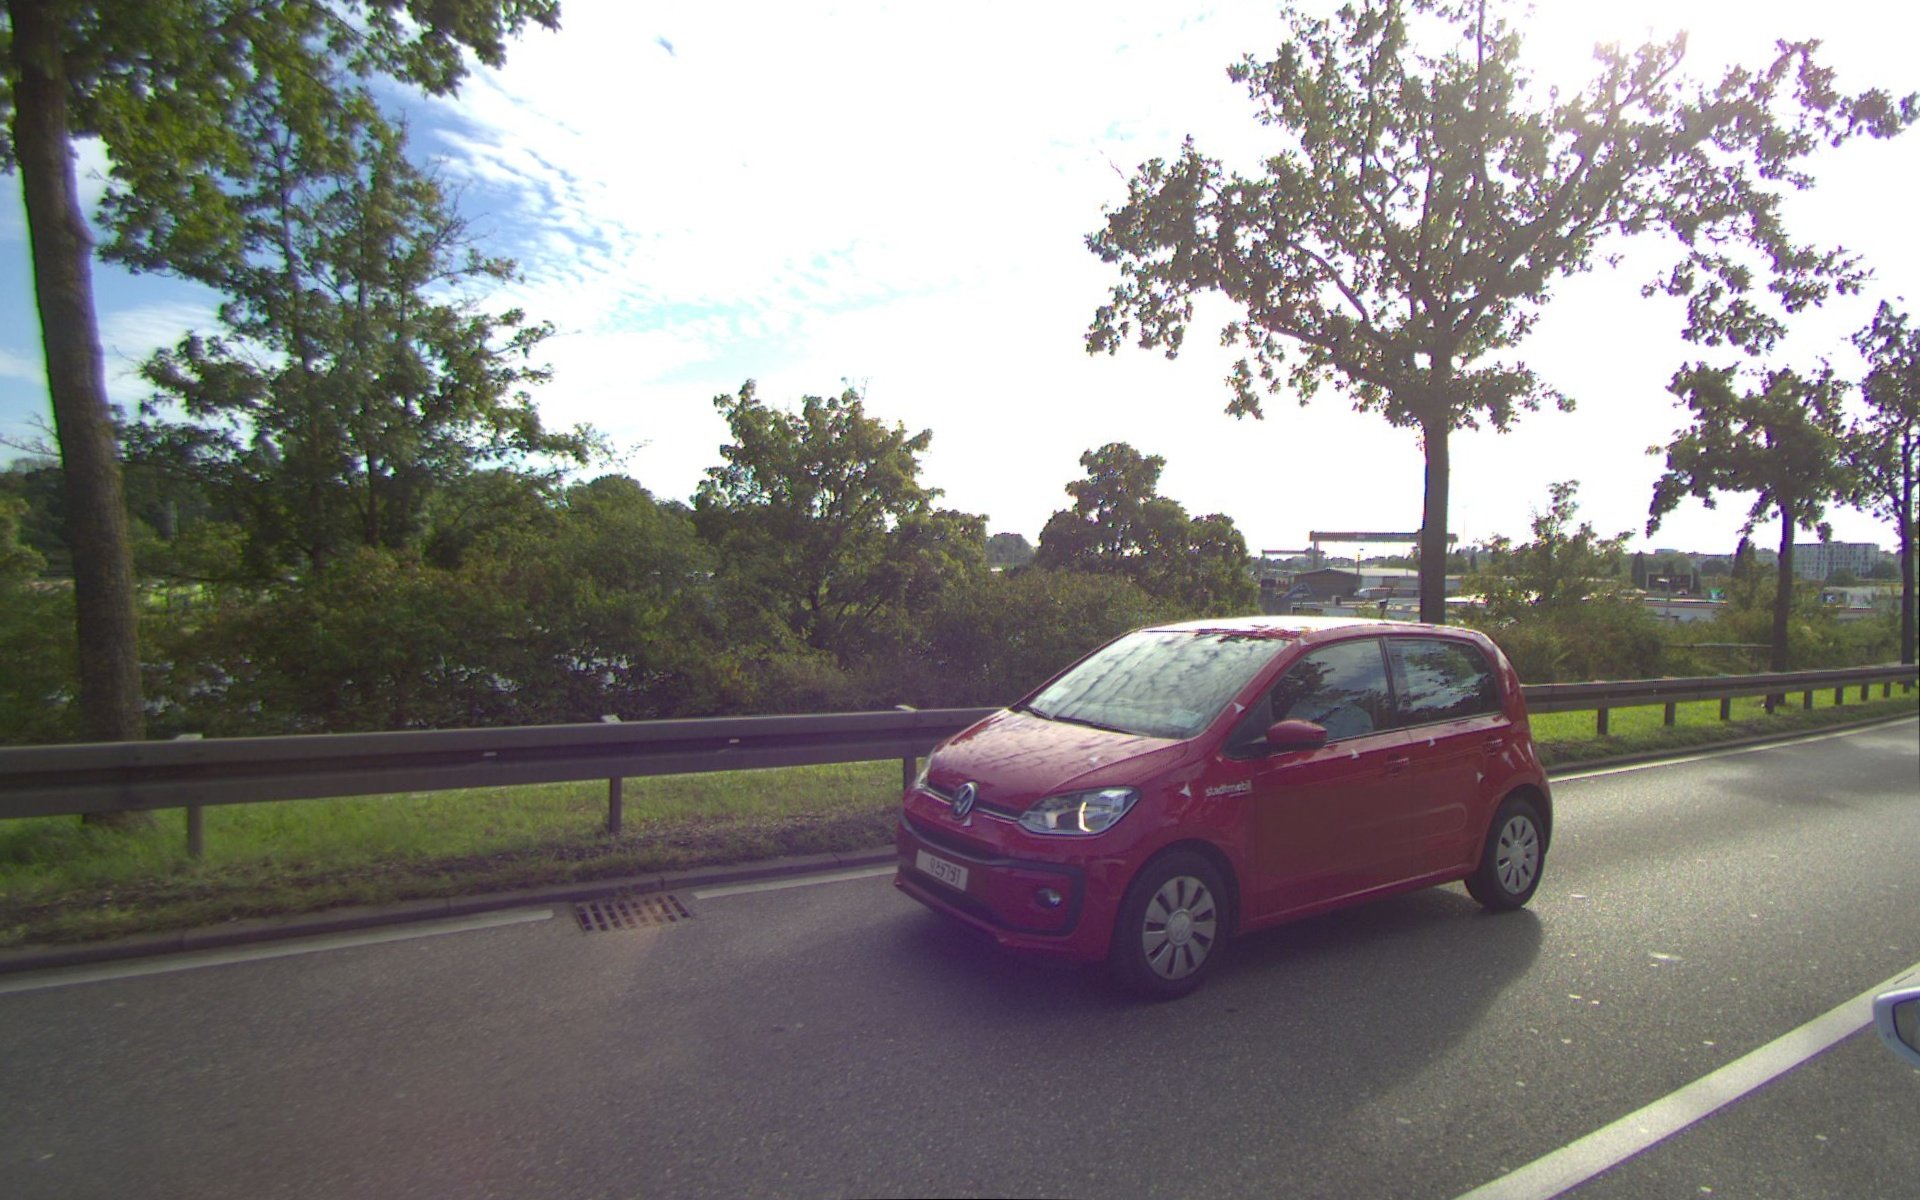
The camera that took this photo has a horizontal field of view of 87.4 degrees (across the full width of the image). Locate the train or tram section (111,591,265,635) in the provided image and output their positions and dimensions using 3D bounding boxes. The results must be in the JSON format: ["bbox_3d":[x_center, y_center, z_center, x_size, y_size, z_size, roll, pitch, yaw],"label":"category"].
[{"bbox_3d":[-91.813,1.438,120.249,3.034,4.775,16.759,2,0,11],"label":"train or tram section"}]

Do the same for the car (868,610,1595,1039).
[{"bbox_3d":[1.480,0.814,5.075,3.552,1.444,1.558,1,0,-33],"label":"car"}]
